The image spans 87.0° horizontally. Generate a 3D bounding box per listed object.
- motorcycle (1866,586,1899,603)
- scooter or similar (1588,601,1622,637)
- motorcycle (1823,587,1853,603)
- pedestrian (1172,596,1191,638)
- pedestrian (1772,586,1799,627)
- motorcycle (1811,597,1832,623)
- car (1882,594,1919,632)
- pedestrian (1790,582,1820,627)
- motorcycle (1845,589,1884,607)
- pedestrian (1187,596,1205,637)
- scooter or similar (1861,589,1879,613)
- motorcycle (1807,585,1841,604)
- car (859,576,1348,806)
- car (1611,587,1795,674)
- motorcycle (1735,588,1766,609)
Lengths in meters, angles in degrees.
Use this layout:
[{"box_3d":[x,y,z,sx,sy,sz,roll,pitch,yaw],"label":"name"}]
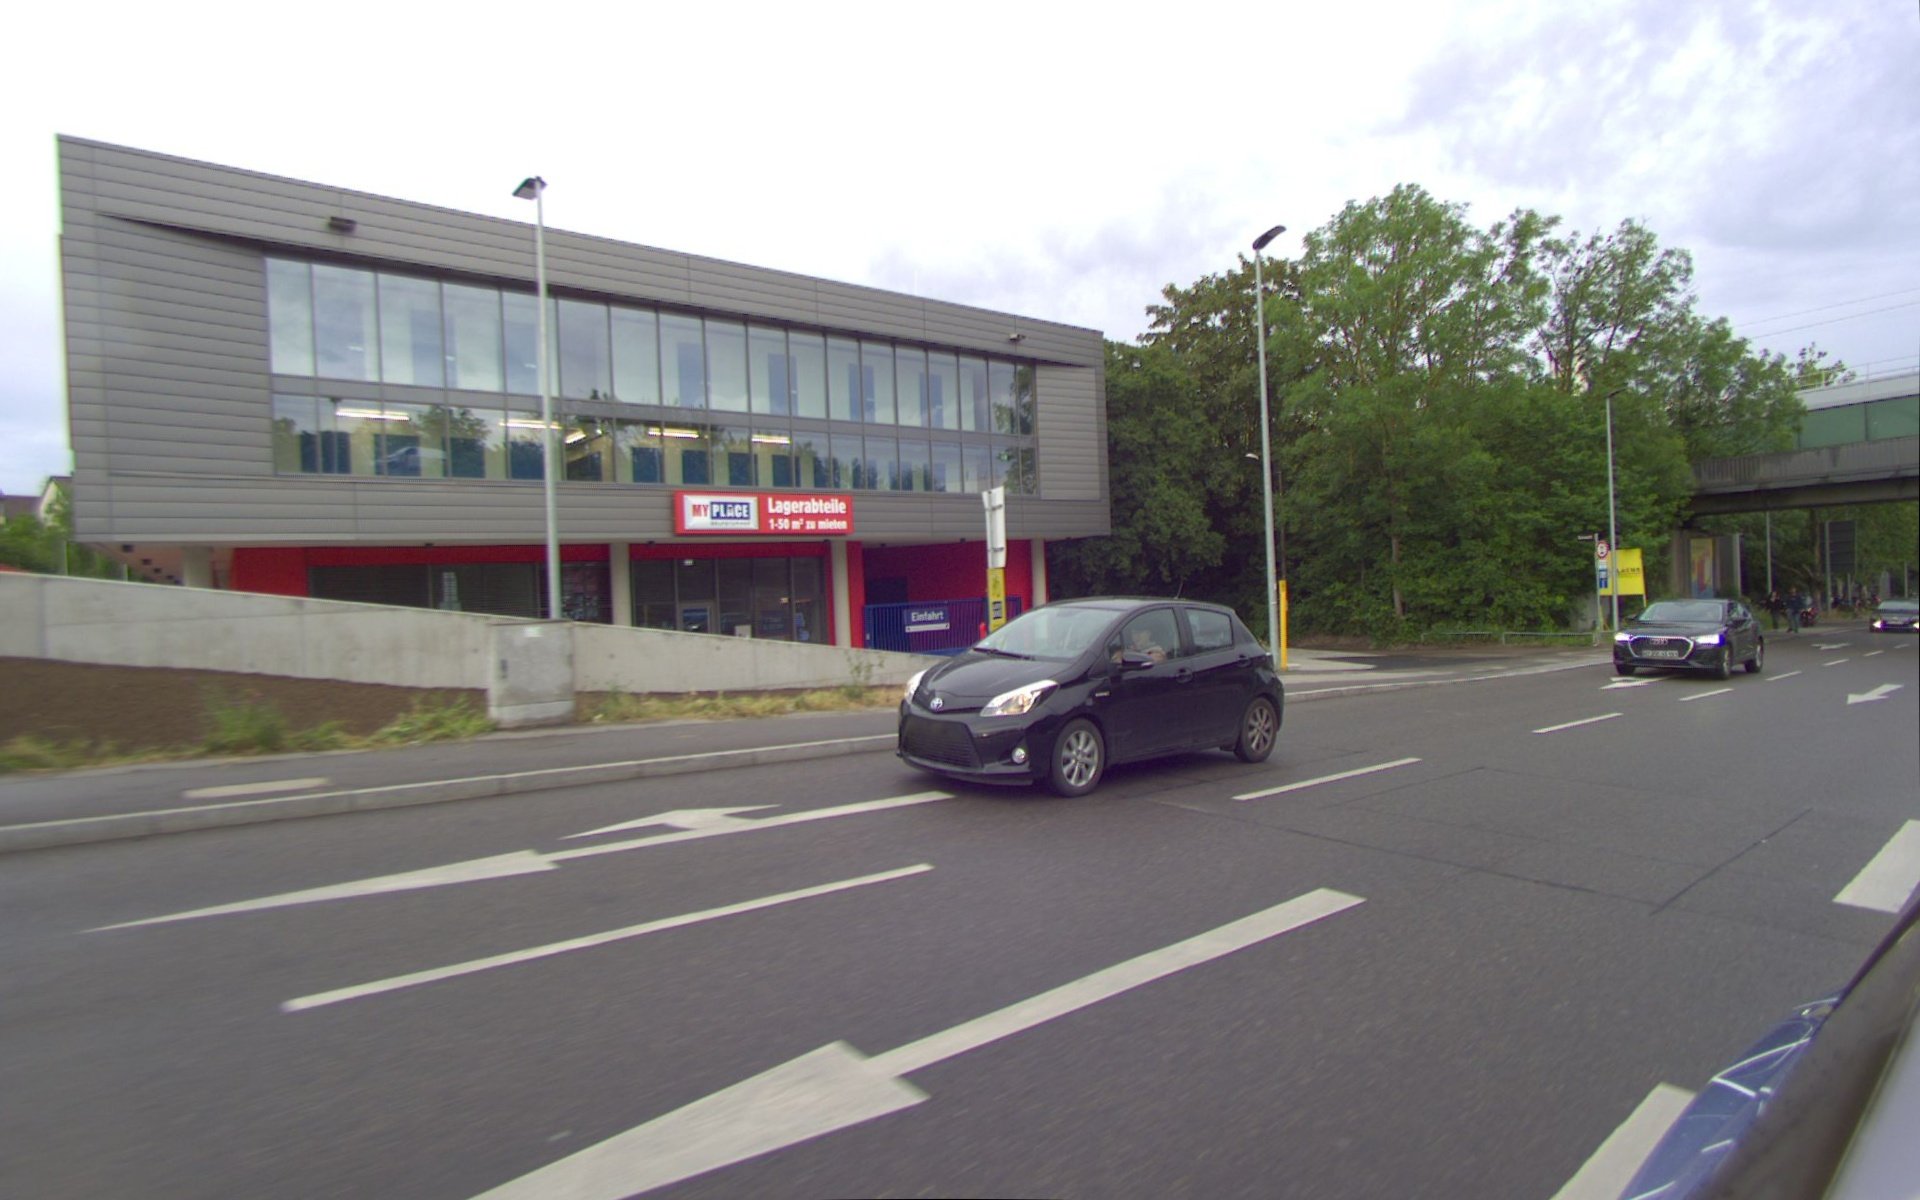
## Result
[{"box_3d":[67.857,-0.407,74.450,0.484,1.165,1.659,-2,-1,-32],"label":"motorcycle"},{"box_3d":[21.230,0.613,33.281,1.253,1.144,0.256,-1,-1,-24],"label":"scooter or similar"},{"box_3d":[69.606,-0.386,80.205,0.548,1.160,1.645,-2,-1,-29],"label":"motorcycle"},{"box_3d":[10.061,0.769,45.914,0.612,1.839,0.587,-1,-1,-12],"label":"pedestrian"},{"box_3d":[32.619,0.242,40.008,0.567,1.616,0.653,-1,0,-29],"label":"pedestrian"},{"box_3d":[39.947,0.434,46.933,1.787,1.151,0.470,-1,0,-41],"label":"motorcycle"},{"box_3d":[40.749,0.507,42.987,4.439,1.448,1.747,-2,0,-41],"label":"car"},{"box_3d":[32.923,0.167,39.421,0.874,1.743,0.613,-1,0,-30],"label":"pedestrian"},{"box_3d":[60.605,-0.126,67.826,1.842,1.206,0.515,-1,0,35],"label":"motorcycle"},{"box_3d":[10.754,0.734,46.155,0.588,1.839,0.587,-1,-1,-12],"label":"pedestrian"},{"box_3d":[52.054,0.045,57.878,1.281,1.315,0.313,-2,0,-29],"label":"scooter or similar"},{"box_3d":[66.250,-0.430,77.615,0.498,1.382,1.928,-2,-2,-44],"label":"motorcycle"},{"box_3d":[1.486,0.612,9.091,4.560,1.488,1.747,-2,0,-41],"label":"car"},{"box_3d":[15.311,0.559,20.725,5.510,1.565,1.818,0,-1,-41],"label":"car"},{"box_3d":[49.994,-0.102,64.003,2.028,1.295,0.350,-1,0,-12],"label":"motorcycle"}]
